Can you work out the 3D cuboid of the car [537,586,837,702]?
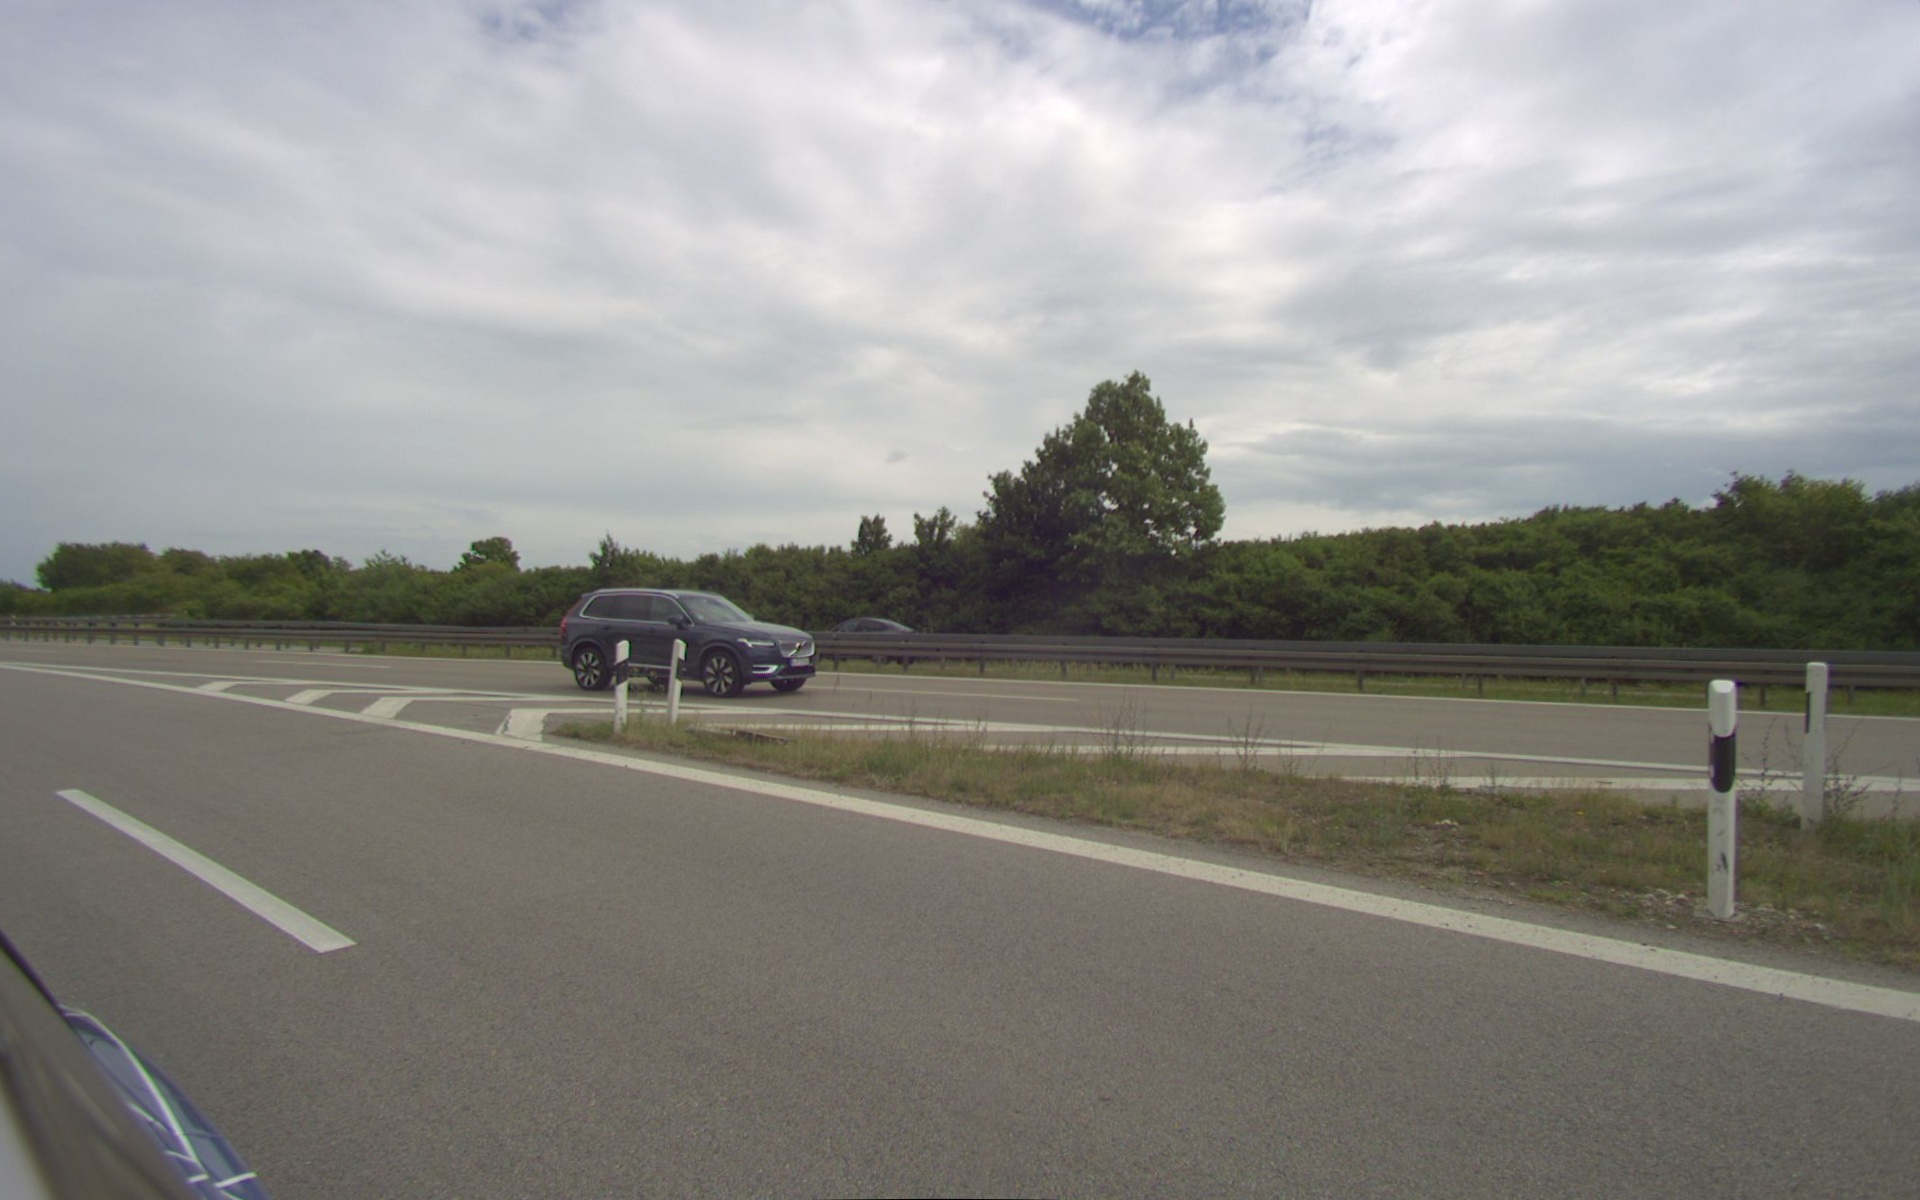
[{"bbox_3d":[-4.716,0.696,17.431,4.896,1.775,1.983,0,-1,26],"label":"car"}]

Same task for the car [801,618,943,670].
[{"bbox_3d":[-3.036,1.478,34.846,4.544,1.674,1.981,0,-2,29],"label":"car"}]
